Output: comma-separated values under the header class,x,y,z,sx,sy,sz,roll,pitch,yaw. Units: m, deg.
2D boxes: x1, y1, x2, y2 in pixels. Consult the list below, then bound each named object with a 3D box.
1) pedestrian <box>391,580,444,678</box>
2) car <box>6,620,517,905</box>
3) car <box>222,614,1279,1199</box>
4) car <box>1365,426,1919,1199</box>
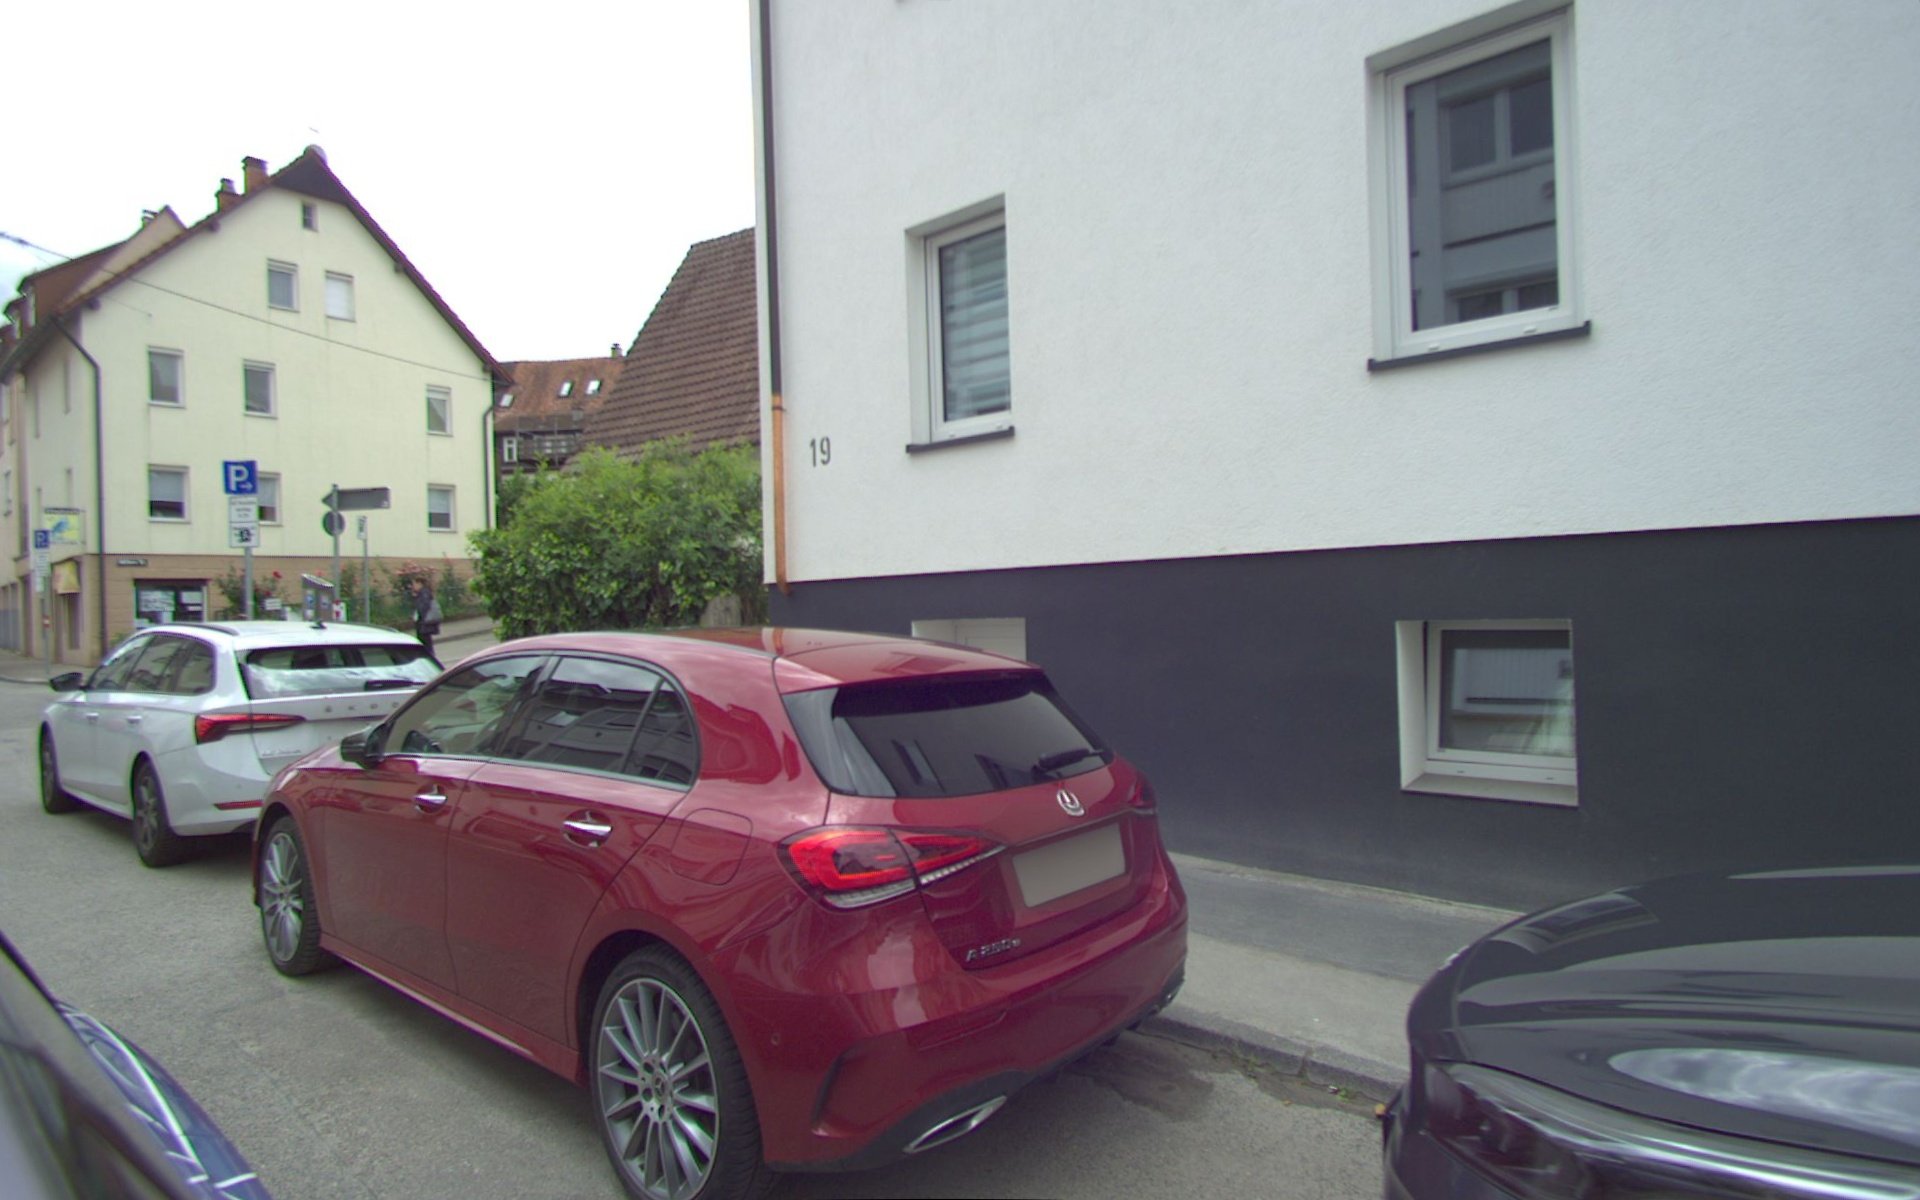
class,x,y,z,sx,sy,sz,roll,pitch,yaw
pedestrian,-9.416,0.492,17.570,0.624,1.644,0.542,2,2,30
car,-5.148,0.887,7.236,4.343,1.442,1.735,-1,-2,37
car,-1.111,0.803,3.784,4.064,1.460,1.733,-1,-2,40
car,2.585,0.614,0.535,4.083,1.521,1.733,-1,-2,41
